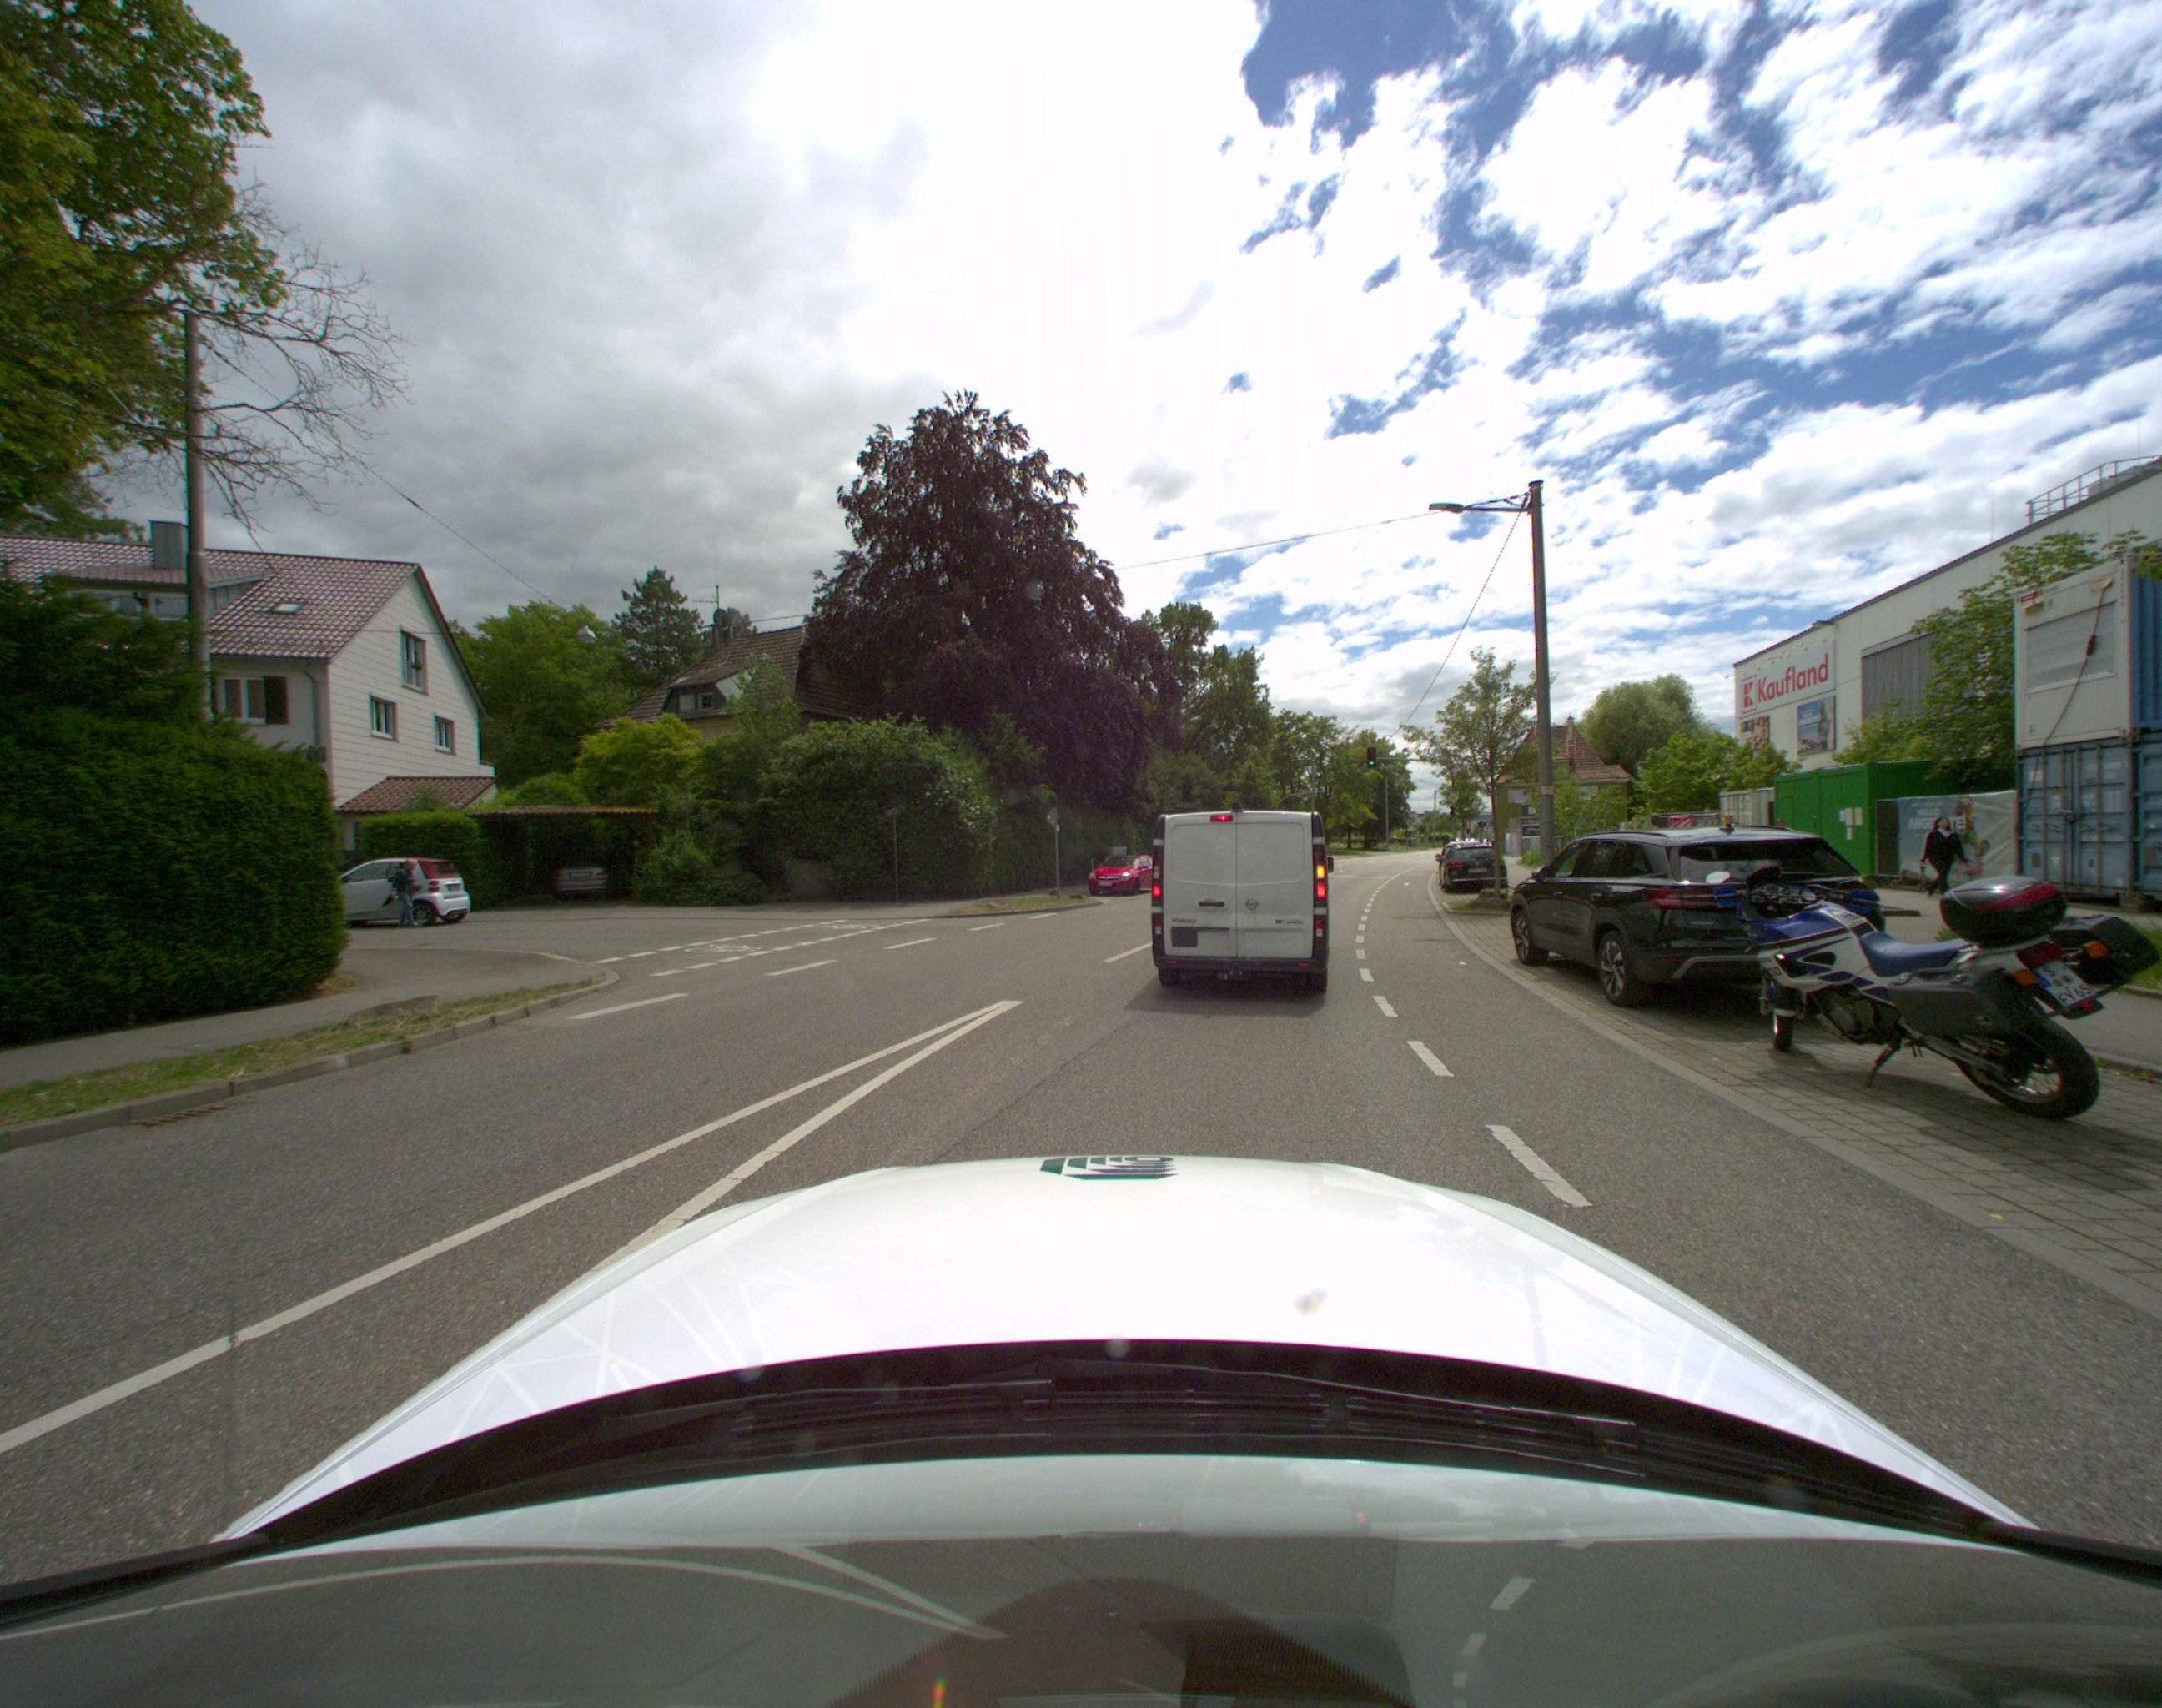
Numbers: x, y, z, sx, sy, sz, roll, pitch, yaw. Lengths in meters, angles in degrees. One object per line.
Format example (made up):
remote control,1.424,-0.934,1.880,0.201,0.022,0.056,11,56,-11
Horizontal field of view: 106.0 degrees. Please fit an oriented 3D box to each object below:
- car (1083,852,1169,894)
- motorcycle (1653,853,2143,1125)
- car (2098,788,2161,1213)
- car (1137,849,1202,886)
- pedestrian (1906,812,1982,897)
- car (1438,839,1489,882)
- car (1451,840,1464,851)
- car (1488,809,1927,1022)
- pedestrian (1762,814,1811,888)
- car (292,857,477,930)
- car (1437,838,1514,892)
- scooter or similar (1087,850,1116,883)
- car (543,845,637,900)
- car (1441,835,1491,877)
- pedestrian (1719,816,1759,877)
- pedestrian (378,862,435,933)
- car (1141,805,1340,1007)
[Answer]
car,1.724,0.623,29.710,1.646,1.378,4.591,0,1,23
motorcycle,4.859,0.693,5.206,1.064,1.305,2.267,-4,0,11
car,4.542,0.512,0.830,1.904,1.578,4.443,-3,0,10
car,3.840,0.515,34.607,1.635,1.450,4.127,0,1,22
pedestrian,16.871,0.015,15.944,0.736,1.618,0.771,-1,0,20
car,14.444,0.216,30.878,1.554,1.493,4.022,-3,0,23
car,60.165,-1.331,130.278,1.816,1.616,4.176,-2,0,24
car,6.088,0.494,8.814,1.865,1.621,4.864,-3,0,13
pedestrian,16.488,-0.071,19.044,0.645,1.696,0.729,-1,0,22
car,-15.861,0.851,18.694,2.774,1.555,1.582,0,0,-15
car,12.559,0.308,26.188,1.749,1.477,4.961,-4,-1,21
scooter or similar,0.899,0.530,35.438,0.664,1.412,1.658,0,1,24
car,-15.075,0.494,25.217,1.729,1.509,3.974,-1,1,-20
car,16.938,0.062,35.962,1.721,1.616,4.411,-4,-1,23
pedestrian,18.891,-0.214,23.398,0.646,1.697,0.849,-1,0,20
pedestrian,-14.777,0.933,17.864,0.729,1.508,0.625,-1,0,-12
car,2.154,0.453,10.443,1.925,1.960,4.852,1,1,14
